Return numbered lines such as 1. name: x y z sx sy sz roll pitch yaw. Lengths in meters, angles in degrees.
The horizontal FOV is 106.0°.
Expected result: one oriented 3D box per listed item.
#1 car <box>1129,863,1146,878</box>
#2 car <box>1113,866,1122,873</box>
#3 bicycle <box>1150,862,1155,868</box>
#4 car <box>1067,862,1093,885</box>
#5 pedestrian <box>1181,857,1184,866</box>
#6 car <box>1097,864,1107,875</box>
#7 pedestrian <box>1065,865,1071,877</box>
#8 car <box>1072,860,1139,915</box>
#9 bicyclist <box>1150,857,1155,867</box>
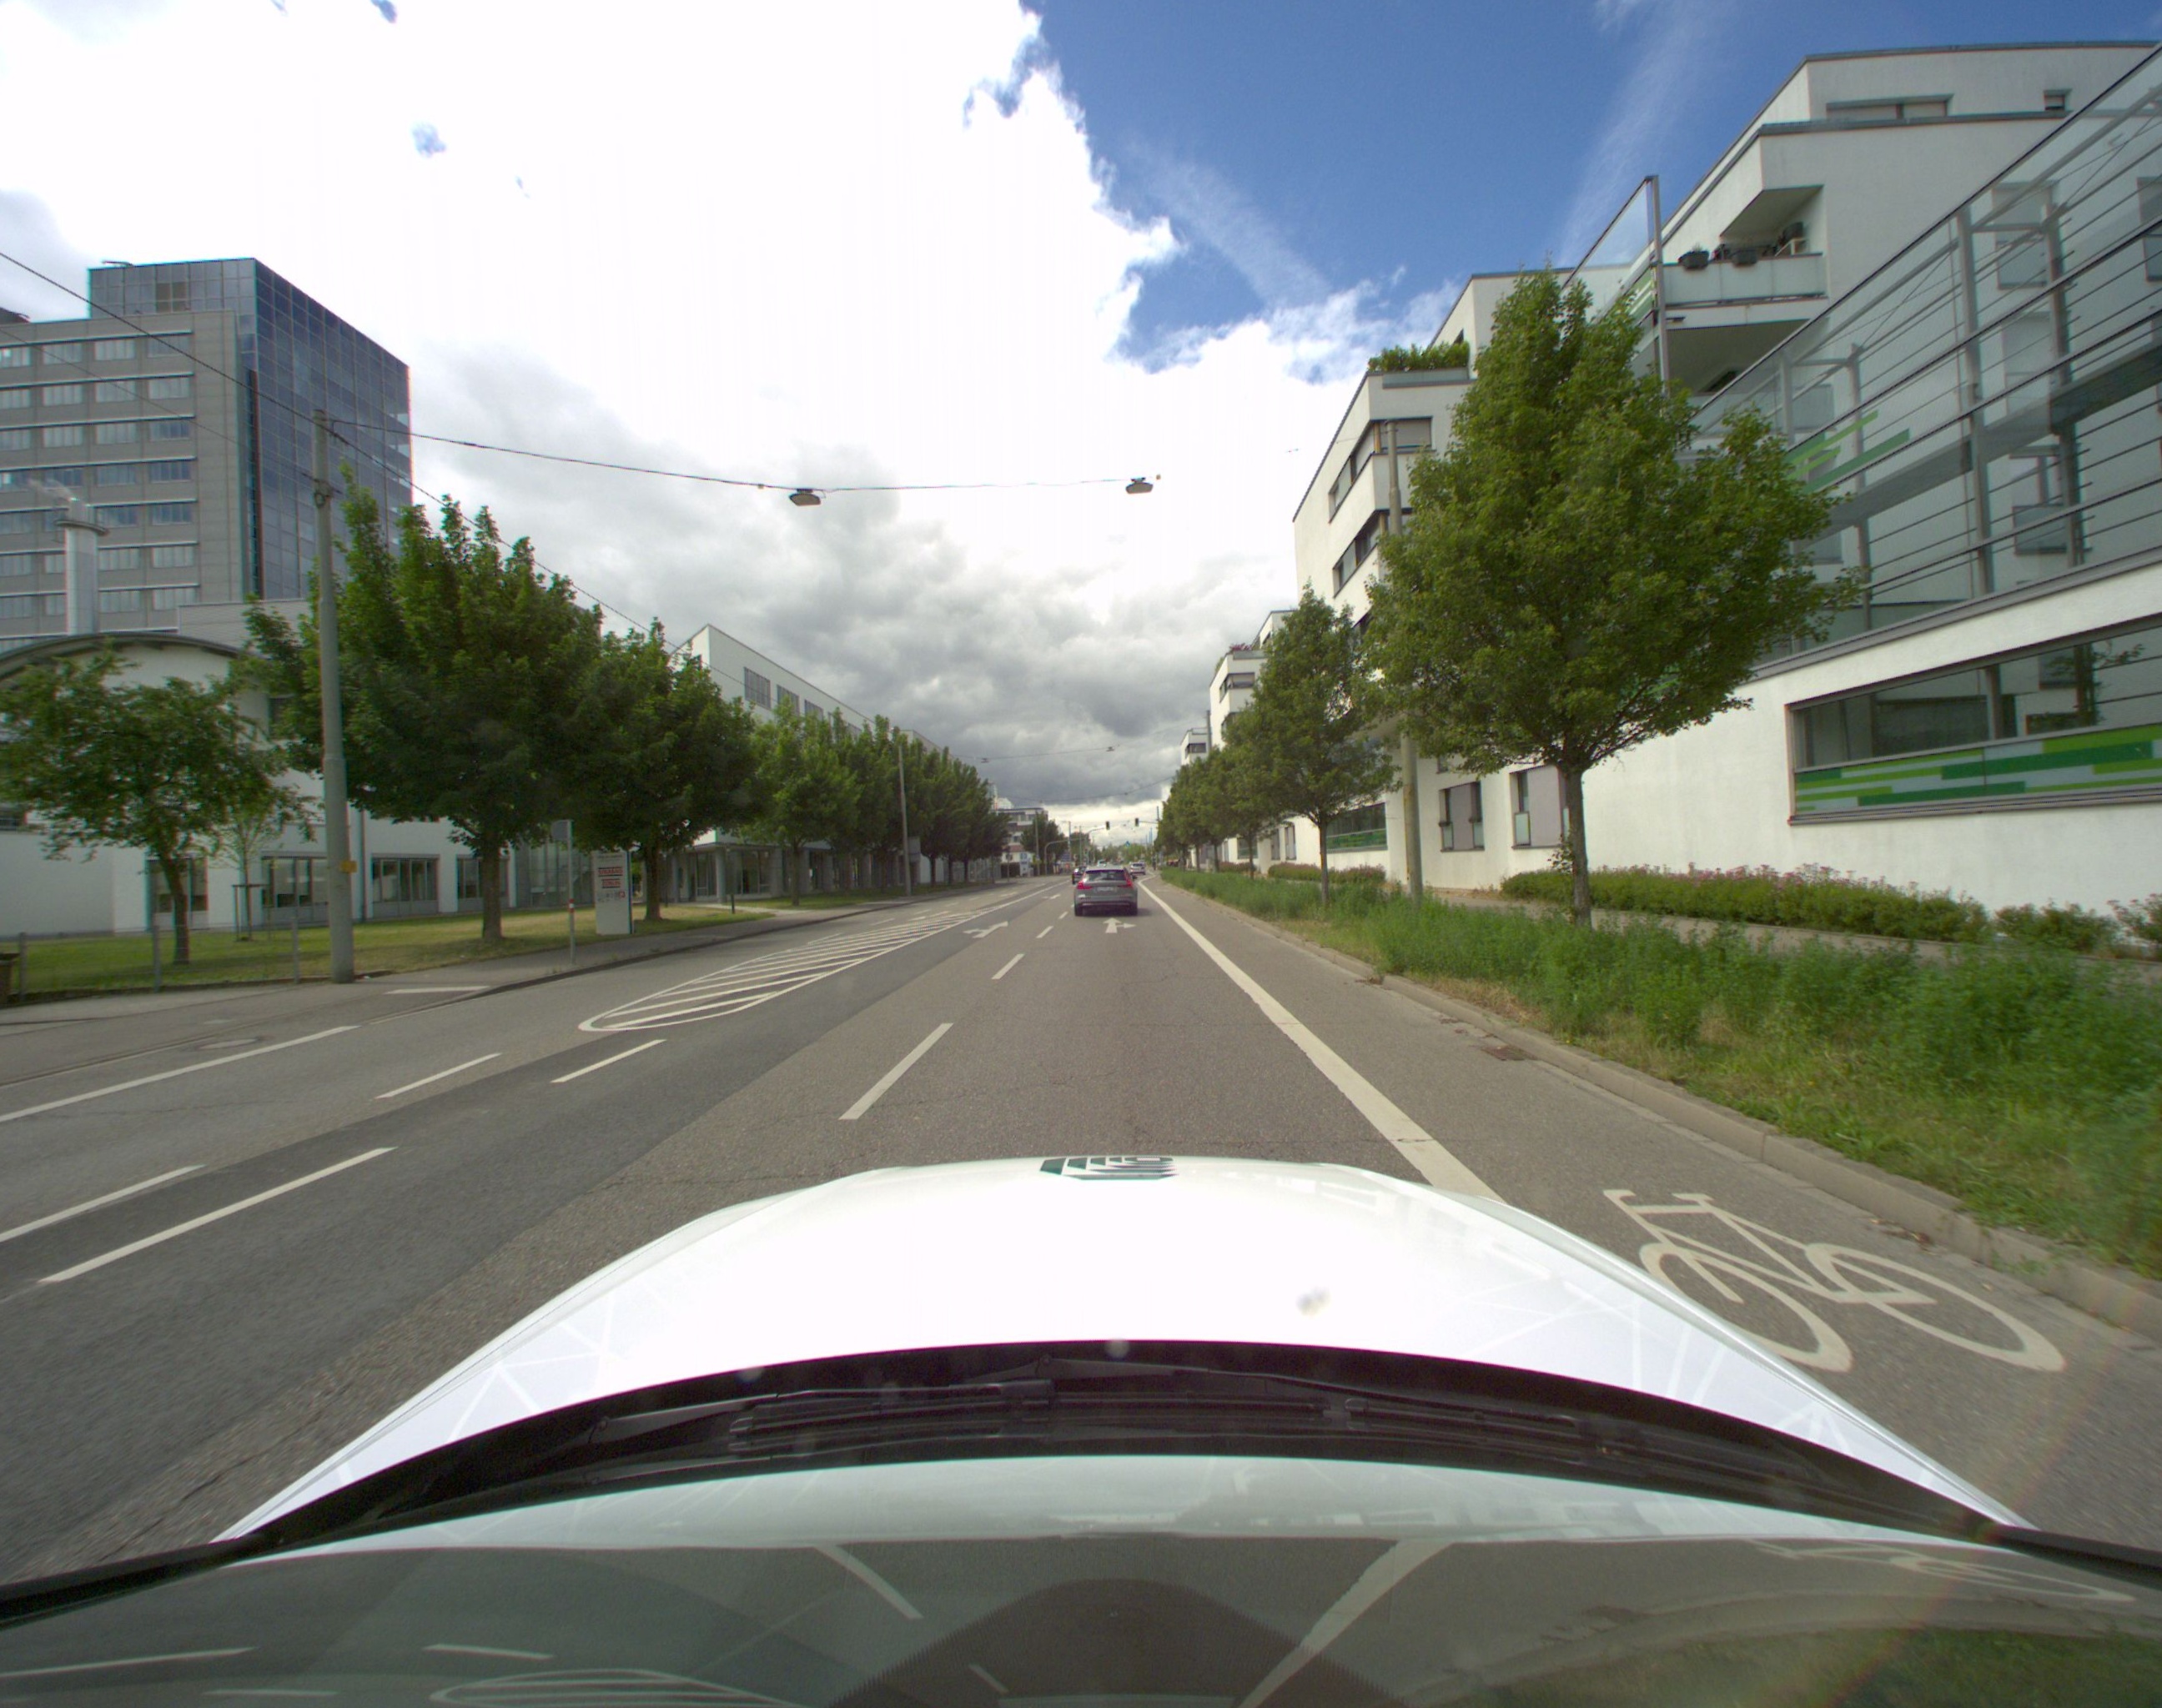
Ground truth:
1. car: 6.674 1.957 96.871 1.985 1.695 4.003 0 -2 3
2. car: 8.714 3.610 193.396 1.875 1.552 4.547 -4 -2 6
3. bicycle: 12.203 1.852 138.866 0.635 1.063 1.979 -6 -1 4
4. car: -0.044 1.565 64.279 1.986 1.717 4.001 0 -2 2
5. pedestrian: 19.900 1.546 160.020 0.503 1.765 0.503 -1 -2 20
6. car: 5.191 3.813 201.743 2.133 2.472 6.080 -4 -2 5
7. pedestrian: -2.249 2.996 142.782 0.815 2.014 0.717 2 -3 -44
8. car: 0.763 1.015 25.012 1.888 1.554 4.001 0 -2 2
9. bicyclist: 12.160 1.421 138.841 0.635 1.675 0.891 -6 -1 4
